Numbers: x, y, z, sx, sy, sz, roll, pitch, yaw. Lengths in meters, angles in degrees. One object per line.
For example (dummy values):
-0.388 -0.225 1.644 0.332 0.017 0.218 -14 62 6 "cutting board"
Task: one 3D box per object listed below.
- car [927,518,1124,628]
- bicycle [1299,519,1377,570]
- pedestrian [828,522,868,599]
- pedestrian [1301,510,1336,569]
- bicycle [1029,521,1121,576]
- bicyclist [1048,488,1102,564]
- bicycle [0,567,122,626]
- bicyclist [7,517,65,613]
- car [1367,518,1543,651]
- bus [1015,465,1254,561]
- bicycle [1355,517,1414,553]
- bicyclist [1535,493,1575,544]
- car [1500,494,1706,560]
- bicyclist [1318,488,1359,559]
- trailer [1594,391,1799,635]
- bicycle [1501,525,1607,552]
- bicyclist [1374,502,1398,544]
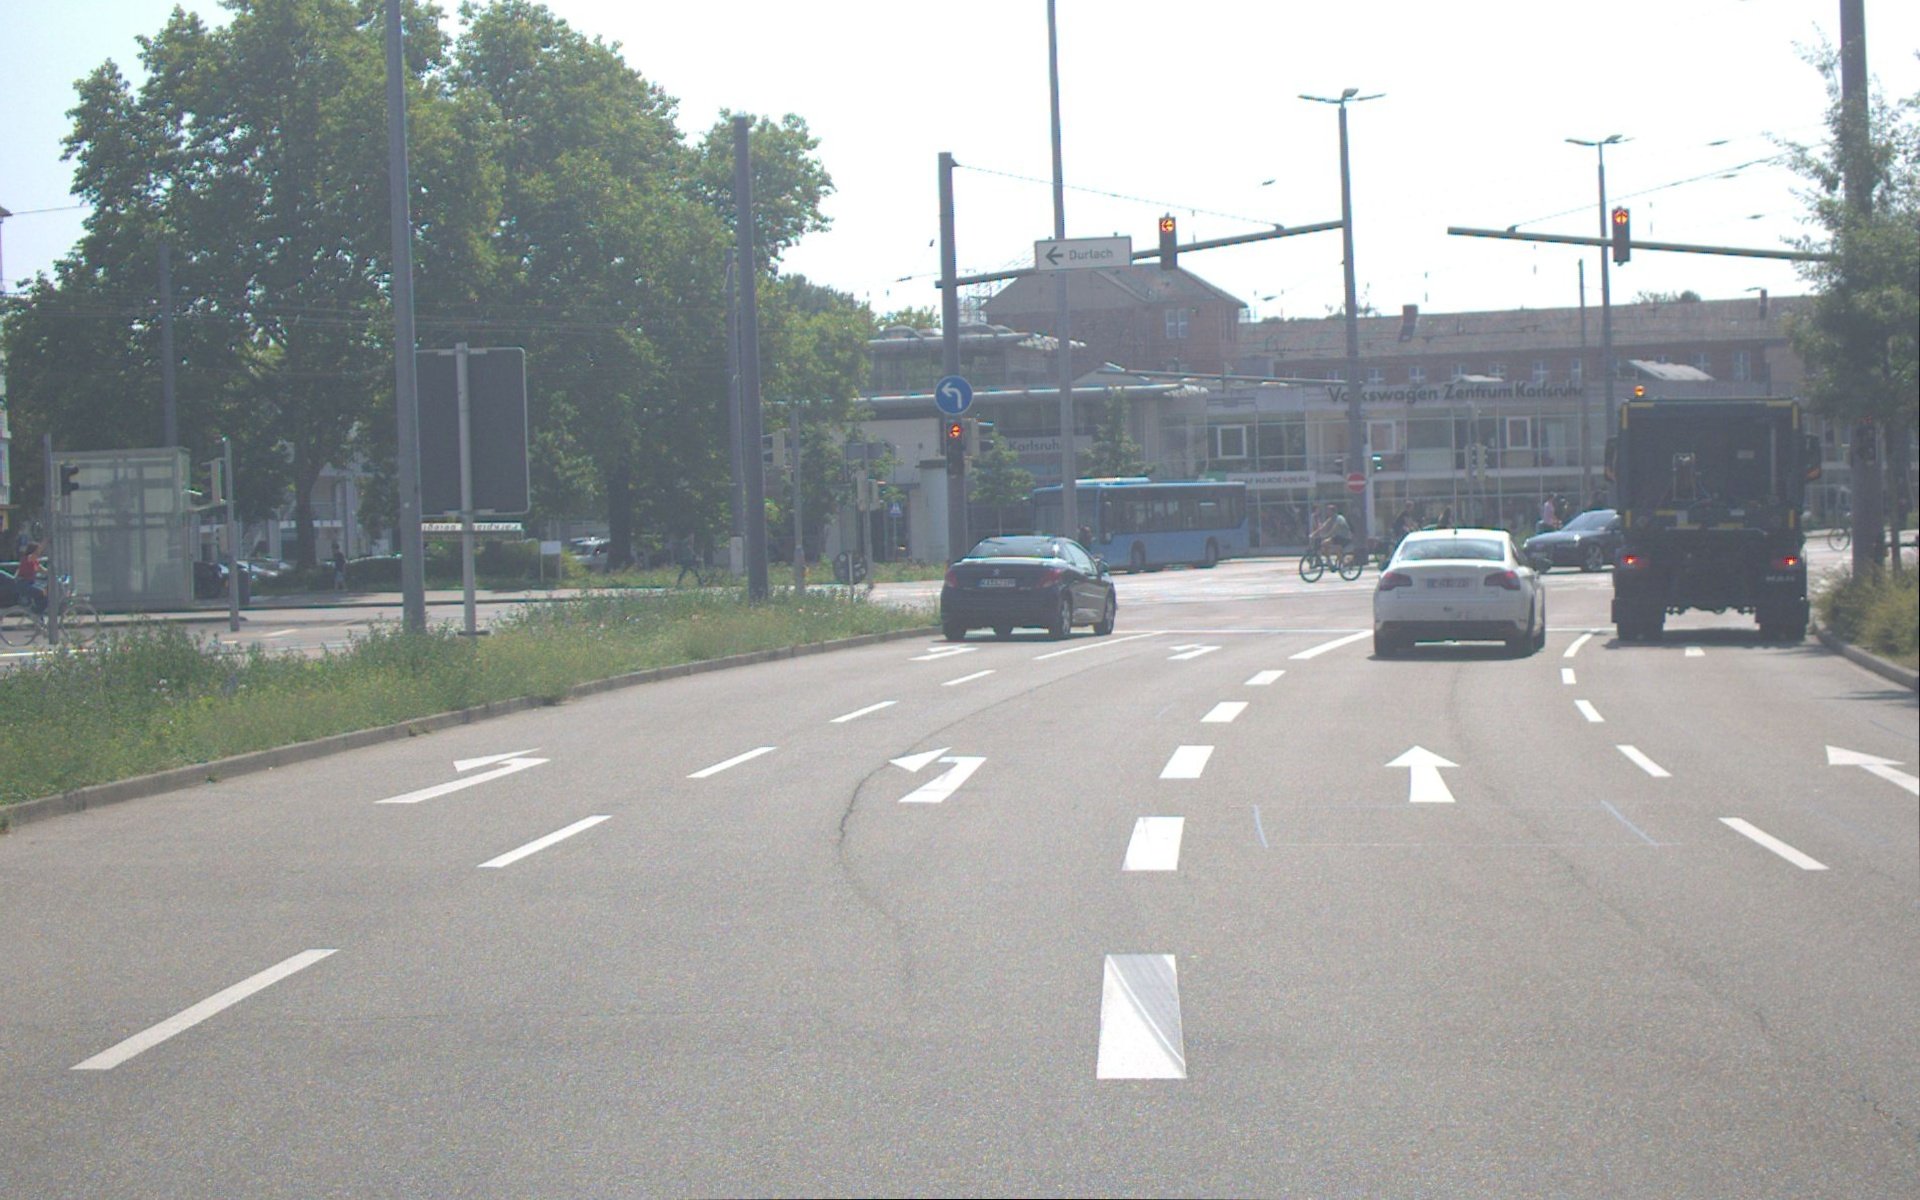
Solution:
0.943 -0.401 47.168 1.759 1.399 3.978 0 2 15 "car"
8.866 -1.300 80.682 0.698 1.133 2.039 0 2 44 "bicycle"
-1.891 -0.671 57.923 0.595 1.264 0.505 -2 4 -7 "pedestrian"
10.706 -1.805 102.626 0.784 1.746 0.807 -1 1 27 "pedestrian"
2.537 -1.144 76.398 0.972 1.174 2.833 -2 1 -21 "bicycle"
2.560 -1.643 76.291 0.972 1.648 0.662 -2 1 -21 "bicyclist"
-15.819 -0.064 59.613 2.408 0.950 0.604 -2 1 -6 "bicycle"
-16.013 -0.607 59.595 0.838 1.637 0.607 -2 1 -6 "bicyclist"
5.923 -0.225 40.770 1.759 1.450 4.423 0 2 12 "car"
5.868 -2.908 112.750 3.058 2.921 11.835 -1 2 28 "bus"
12.229 -1.873 98.990 1.593 0.981 0.506 -1 1 28 "bicycle"
17.561 -2.400 101.416 0.903 1.496 0.865 -2 1 -7 "bicyclist"
15.395 -1.752 82.286 4.549 1.433 2.000 -2 1 -27 "car"
8.893 -1.799 80.719 0.692 1.644 0.618 0 2 44 "bicyclist"
9.780 -1.174 45.583 2.464 2.997 6.322 0 2 13 "trailer"
17.522 -1.822 101.429 2.934 0.725 0.865 -2 1 -7 "bicycle"
12.266 -2.208 98.959 0.504 1.184 0.506 -1 1 28 "bicyclist"
